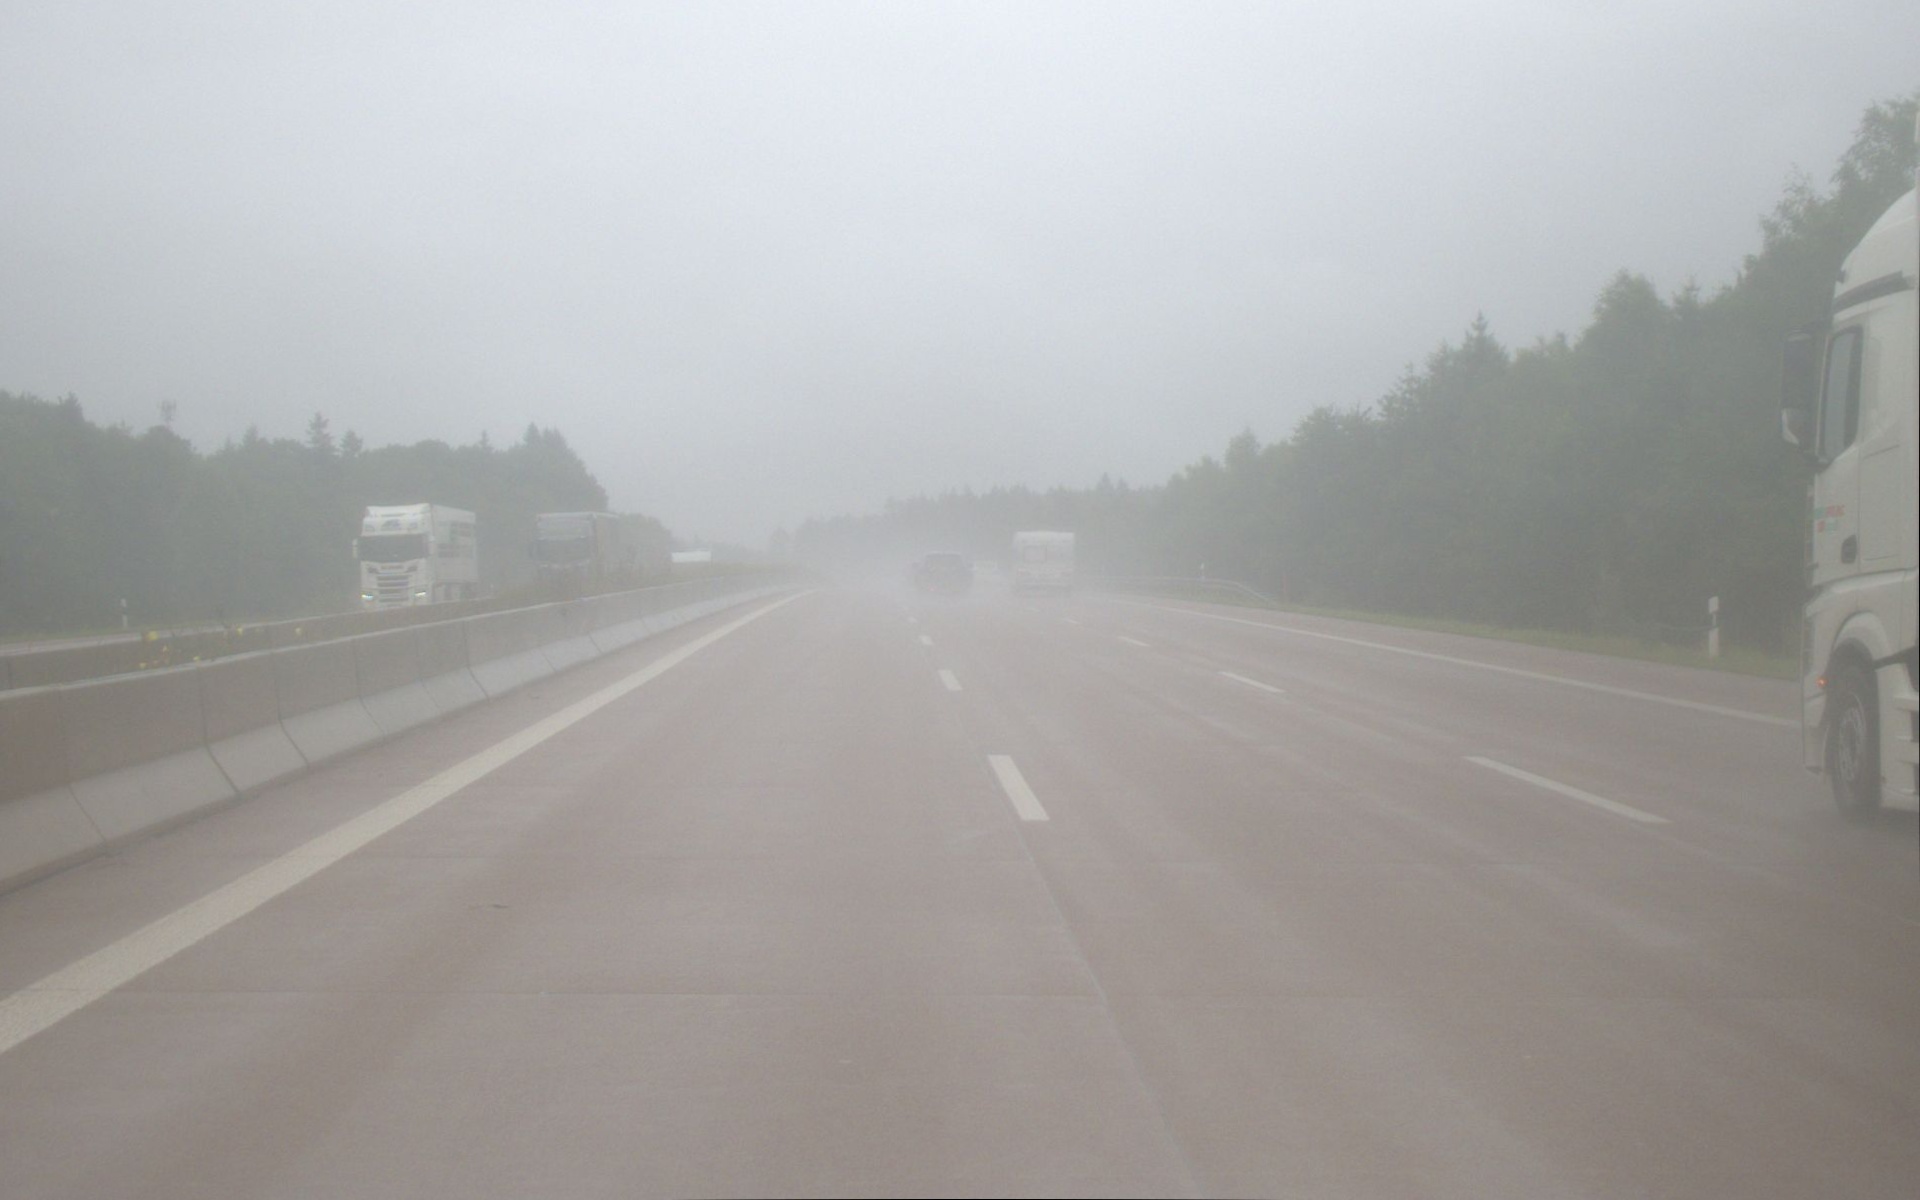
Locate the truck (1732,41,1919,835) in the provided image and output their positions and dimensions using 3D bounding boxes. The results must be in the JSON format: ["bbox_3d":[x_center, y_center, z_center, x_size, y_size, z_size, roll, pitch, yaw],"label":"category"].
[{"bbox_3d":[6.378,-0.865,18.290,2.880,4.092,6.350,-1,1,-2],"label":"truck"}]

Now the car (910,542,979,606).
[{"bbox_3d":[-0.527,-0.872,113.467,2.173,1.974,4.130,-2,1,-1],"label":"car"}]

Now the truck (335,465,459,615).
[{"bbox_3d":[-20.905,-2.198,128.130,3.419,5.360,8.158,1,1,-2],"label":"truck"}]
